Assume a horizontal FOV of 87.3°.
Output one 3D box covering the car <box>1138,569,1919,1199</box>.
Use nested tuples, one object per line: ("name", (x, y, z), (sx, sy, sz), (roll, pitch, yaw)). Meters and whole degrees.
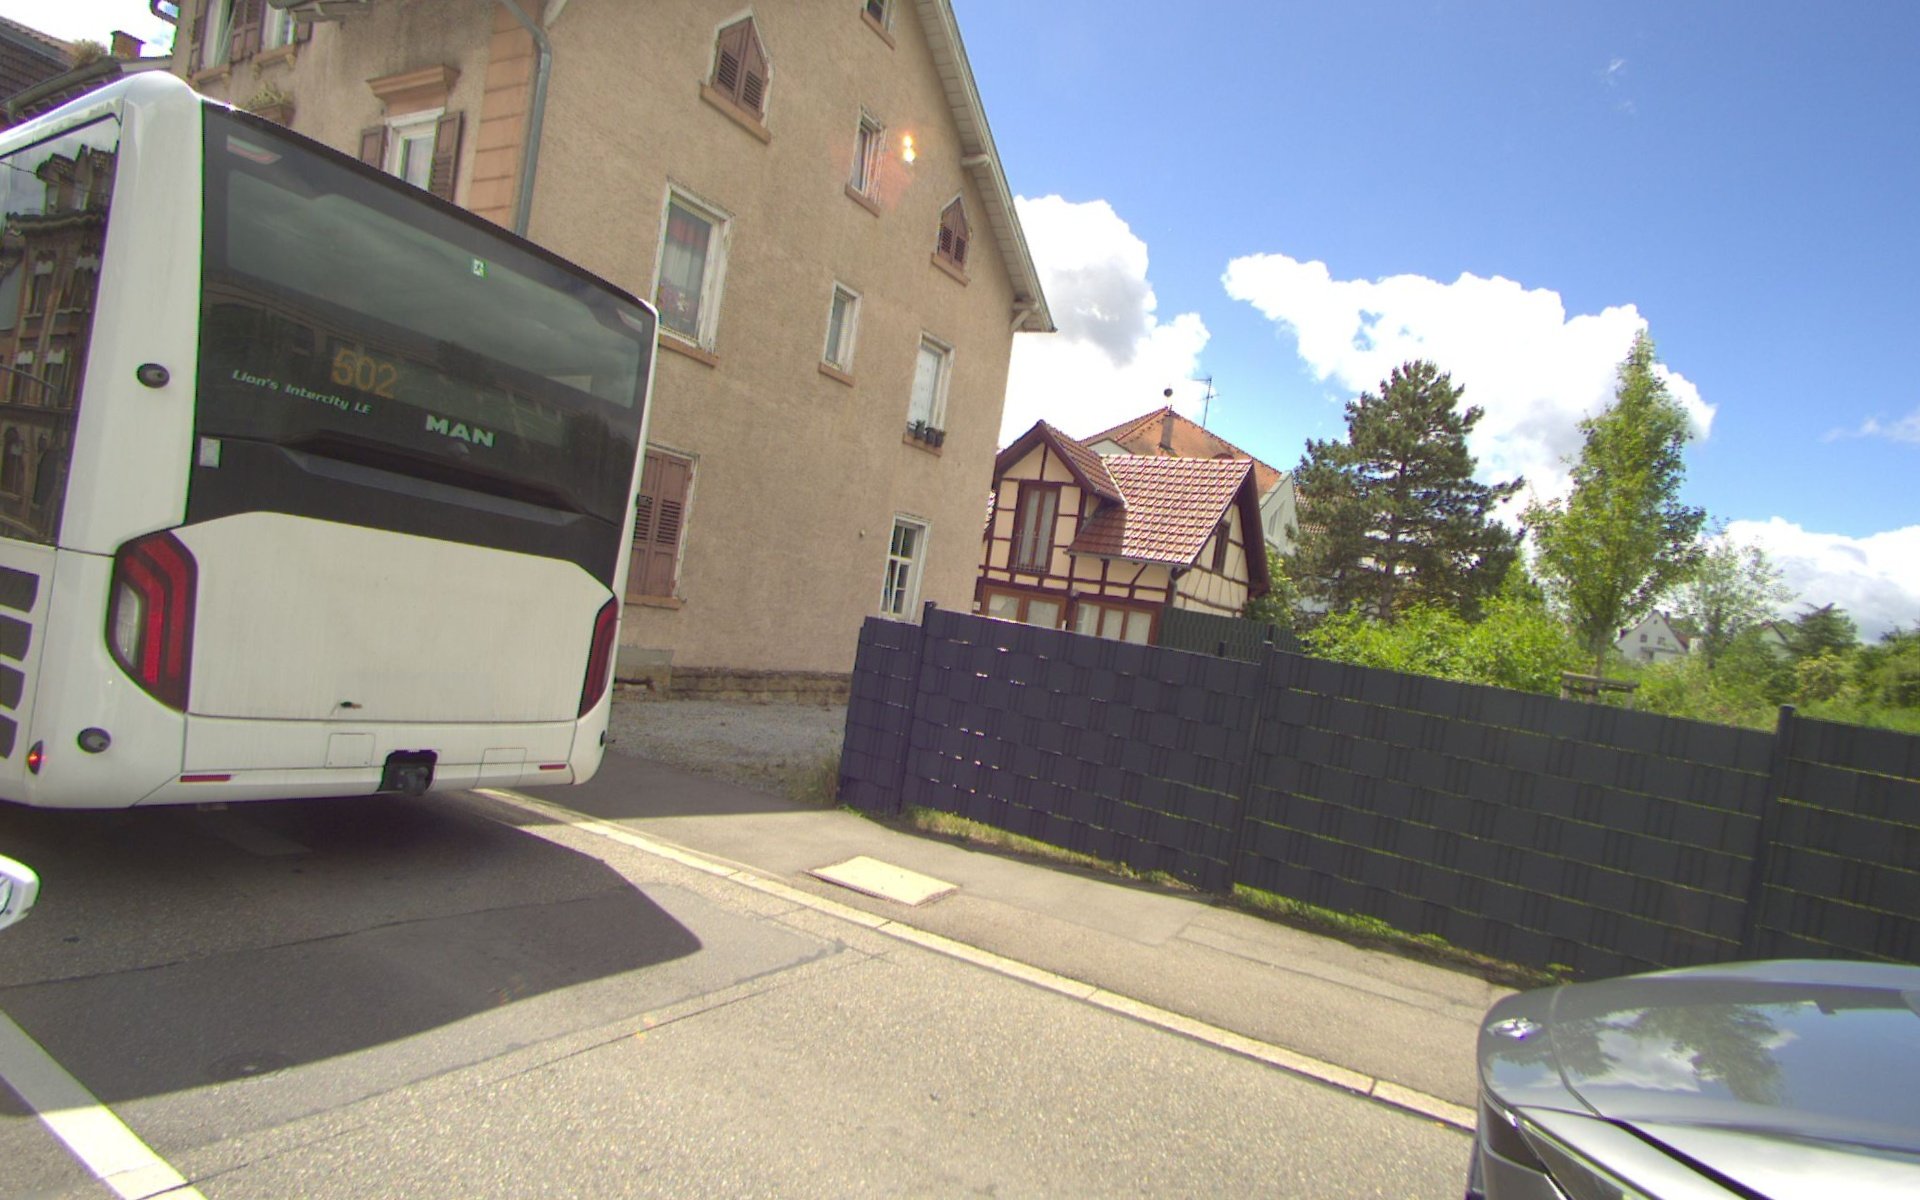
("car", (2.707, 1.114, 1.094), (4.605, 1.631, 1.924), (7, -2, 32))

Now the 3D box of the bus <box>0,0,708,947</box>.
("bus", (-7.436, -0.927, 7.690), (12.255, 3.193, 2.677), (7, -1, 32))
